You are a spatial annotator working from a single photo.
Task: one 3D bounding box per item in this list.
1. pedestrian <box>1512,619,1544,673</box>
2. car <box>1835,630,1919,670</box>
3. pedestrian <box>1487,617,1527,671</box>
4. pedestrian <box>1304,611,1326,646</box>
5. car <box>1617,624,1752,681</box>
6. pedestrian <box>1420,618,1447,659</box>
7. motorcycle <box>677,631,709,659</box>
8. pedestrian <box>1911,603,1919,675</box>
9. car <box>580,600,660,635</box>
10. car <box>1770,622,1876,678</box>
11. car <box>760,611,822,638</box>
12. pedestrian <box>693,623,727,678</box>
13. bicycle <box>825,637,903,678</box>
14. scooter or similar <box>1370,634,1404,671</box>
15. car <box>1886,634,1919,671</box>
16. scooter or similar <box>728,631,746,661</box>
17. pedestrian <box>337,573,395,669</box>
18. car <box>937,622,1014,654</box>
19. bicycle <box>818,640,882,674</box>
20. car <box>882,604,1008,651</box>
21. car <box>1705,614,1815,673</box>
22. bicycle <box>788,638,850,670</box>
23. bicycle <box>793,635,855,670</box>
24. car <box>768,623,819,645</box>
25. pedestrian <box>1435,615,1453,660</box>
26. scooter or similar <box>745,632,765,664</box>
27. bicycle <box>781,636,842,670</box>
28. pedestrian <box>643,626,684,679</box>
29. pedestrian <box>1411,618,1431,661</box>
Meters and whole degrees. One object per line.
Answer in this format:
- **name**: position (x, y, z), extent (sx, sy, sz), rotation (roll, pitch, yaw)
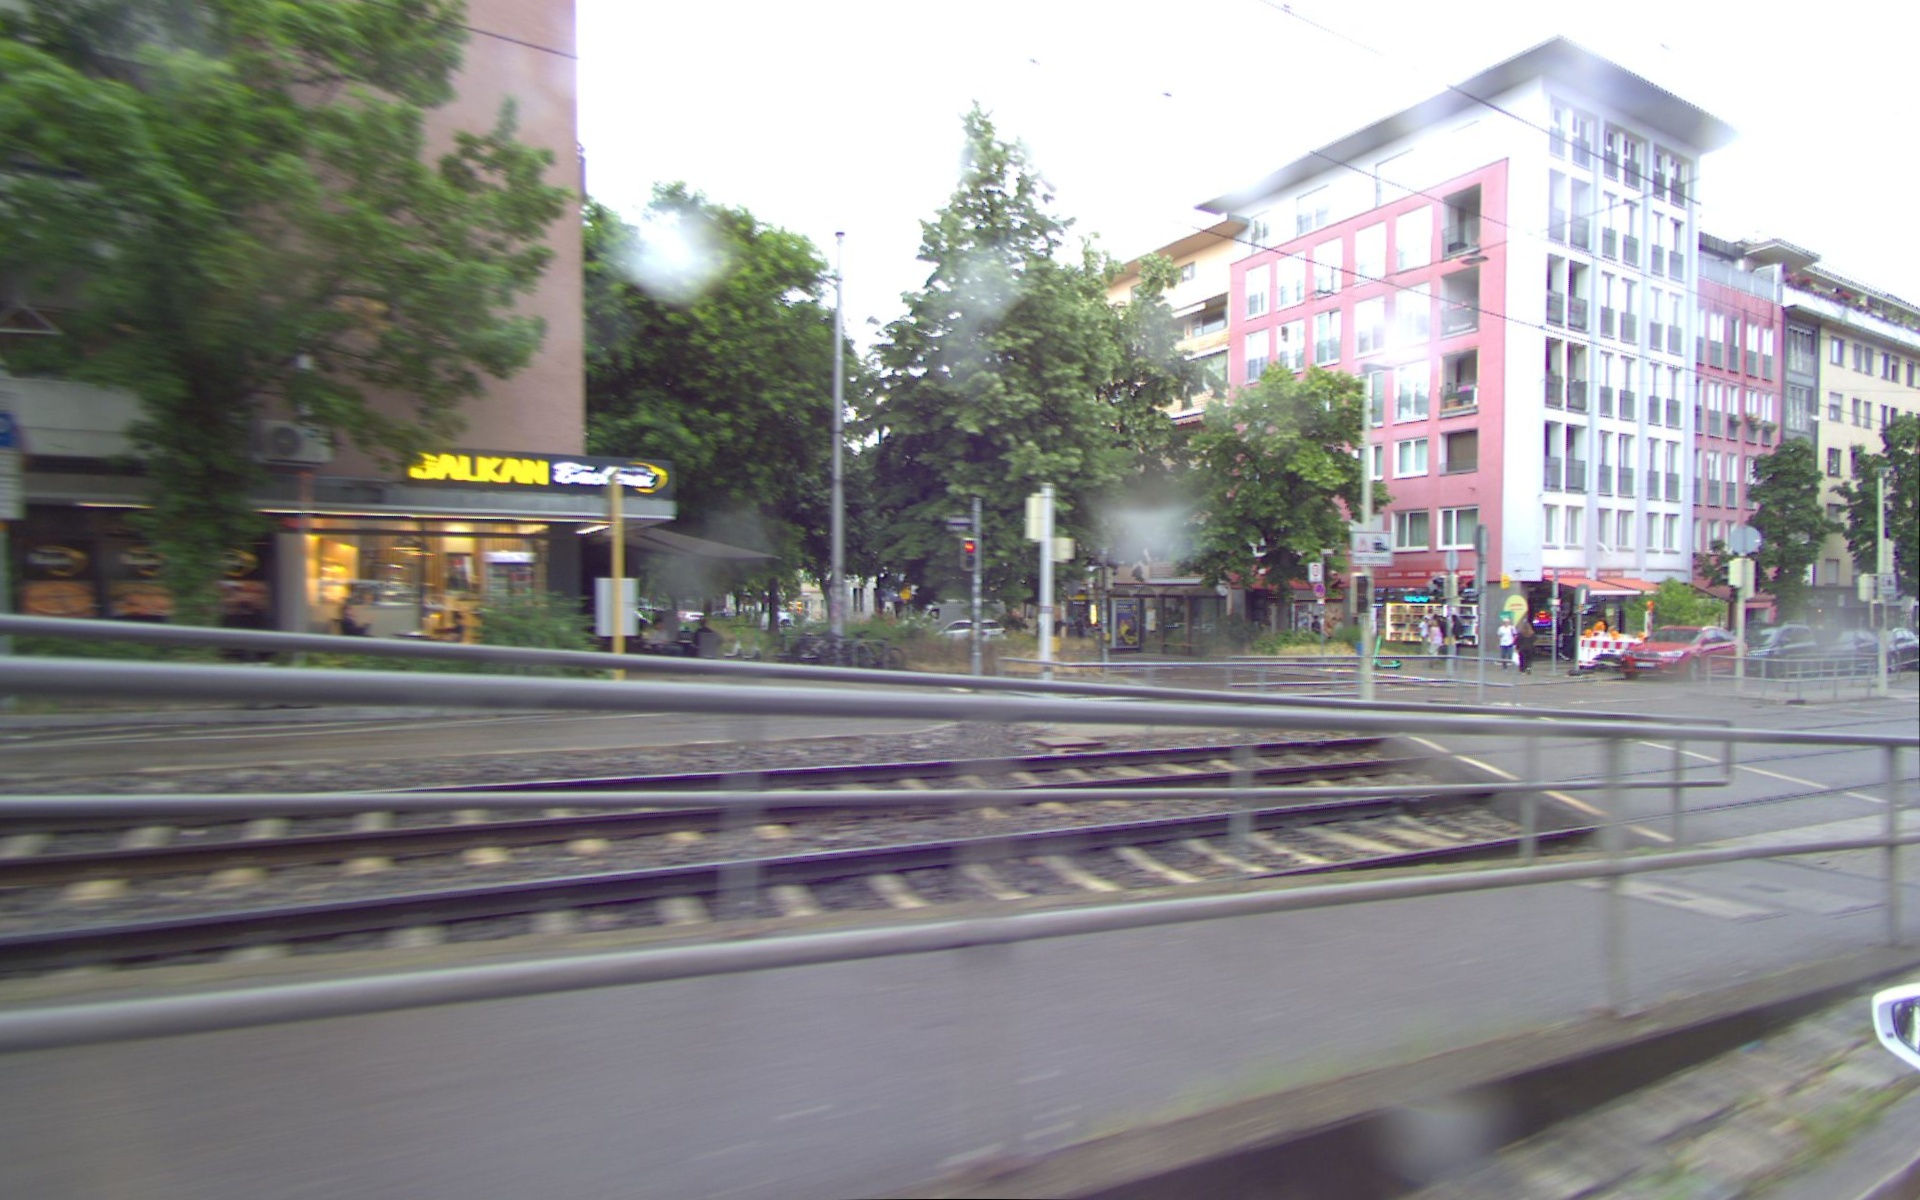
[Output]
- **pedestrian**: position (17.966, 1.447, 31.748), extent (0.794, 1.653, 0.879), rotation (0, 1, 36)
- **car**: position (35.965, 1.905, 39.134), extent (4.275, 1.455, 1.829), rotation (1, -1, -34)
- **pedestrian**: position (18.277, 1.462, 33.533), extent (0.978, 1.720, 0.812), rotation (1, 1, -39)
- **pedestrian**: position (14.652, 1.162, 41.434), extent (0.644, 1.424, 0.556), rotation (1, 1, -33)
- **car**: position (22.454, 1.573, 31.111), extent (4.498, 1.633, 1.718), rotation (1, -1, -30)
- **pedestrian**: position (17.606, 1.424, 37.368), extent (0.649, 1.481, 0.635), rotation (1, 1, -32)
- **motorcycle**: position (-10.606, 1.777, 39.851), extent (0.739, 1.021, 1.841), rotation (1, -1, -31)
- **pedestrian**: position (27.911, 1.107, 28.441), extent (1.367, 2.040, 1.110), rotation (2, -1, -31)
- **car**: position (-22.888, 1.196, 67.646), extent (4.811, 2.238, 1.891), rotation (1, -1, -33)
- **car**: position (31.007, 1.749, 36.069), extent (4.334, 1.883, 1.792), rotation (1, -1, -34)
- **car**: position (-13.372, 1.926, 79.375), extent (4.394, 2.056, 2.082), rotation (1, -1, -30)
- **pedestrian**: position (-5.568, 1.119, 22.368), extent (0.600, 1.193, 0.674), rotation (1, -1, -25)
- **bicycle**: position (-2.336, 1.390, 24.494), extent (1.852, 0.972, 0.477), rotation (2, -1, -31)
- **scooter or similar**: position (14.248, 1.738, 33.510), extent (1.197, 1.207, 0.387), rotation (2, -1, -30)
- **car**: position (39.853, 2.130, 41.469), extent (3.938, 1.455, 1.558), rotation (1, -1, -34)
- **scooter or similar**: position (-7.756, 1.594, 34.953), extent (0.280, 0.993, 1.124), rotation (1, -1, -29)
- **pedestrian**: position (-10.234, 0.365, 17.334), extent (0.808, 1.617, 0.556), rotation (1, -1, -29)
- **car**: position (0.693, 1.792, 47.572), extent (1.975, 1.392, 3.970), rotation (2, -1, -28)
- **bicycle**: position (-2.776, 1.439, 25.467), extent (1.628, 0.827, 0.337), rotation (2, -1, -31)
- **car**: position (-0.847, 1.609, 58.319), extent (7.013, 2.567, 2.404), rotation (1, -1, -29)
- **car**: position (27.109, 1.429, 33.991), extent (4.275, 1.883, 1.697), rotation (1, -1, -34)
- **bicycle**: position (-3.831, 1.465, 27.346), extent (1.626, 0.854, 0.336), rotation (2, -1, -29)
- **bicycle**: position (-3.651, 1.404, 26.952), extent (1.626, 0.923, 0.338), rotation (2, -1, -29)
- **car**: position (-11.426, 2.293, 68.738), extent (2.073, 1.392, 4.415), rotation (2, -1, -28)
- **pedestrian**: position (18.373, 1.421, 38.166), extent (0.535, 1.653, 0.574), rotation (2, 1, 23)
- **scooter or similar**: position (-6.702, 1.565, 32.849), extent (0.280, 0.993, 1.124), rotation (1, -1, -29)
- **bicycle**: position (-4.094, 1.455, 27.742), extent (1.626, 0.915, 0.338), rotation (2, -1, -29)
- **pedestrian**: position (-6.847, 1.201, 23.188), extent (0.665, 1.193, 0.607), rotation (0, -1, 27)
- **pedestrian**: position (17.875, 1.524, 38.916), extent (0.570, 1.653, 0.609), rotation (2, 1, 33)
